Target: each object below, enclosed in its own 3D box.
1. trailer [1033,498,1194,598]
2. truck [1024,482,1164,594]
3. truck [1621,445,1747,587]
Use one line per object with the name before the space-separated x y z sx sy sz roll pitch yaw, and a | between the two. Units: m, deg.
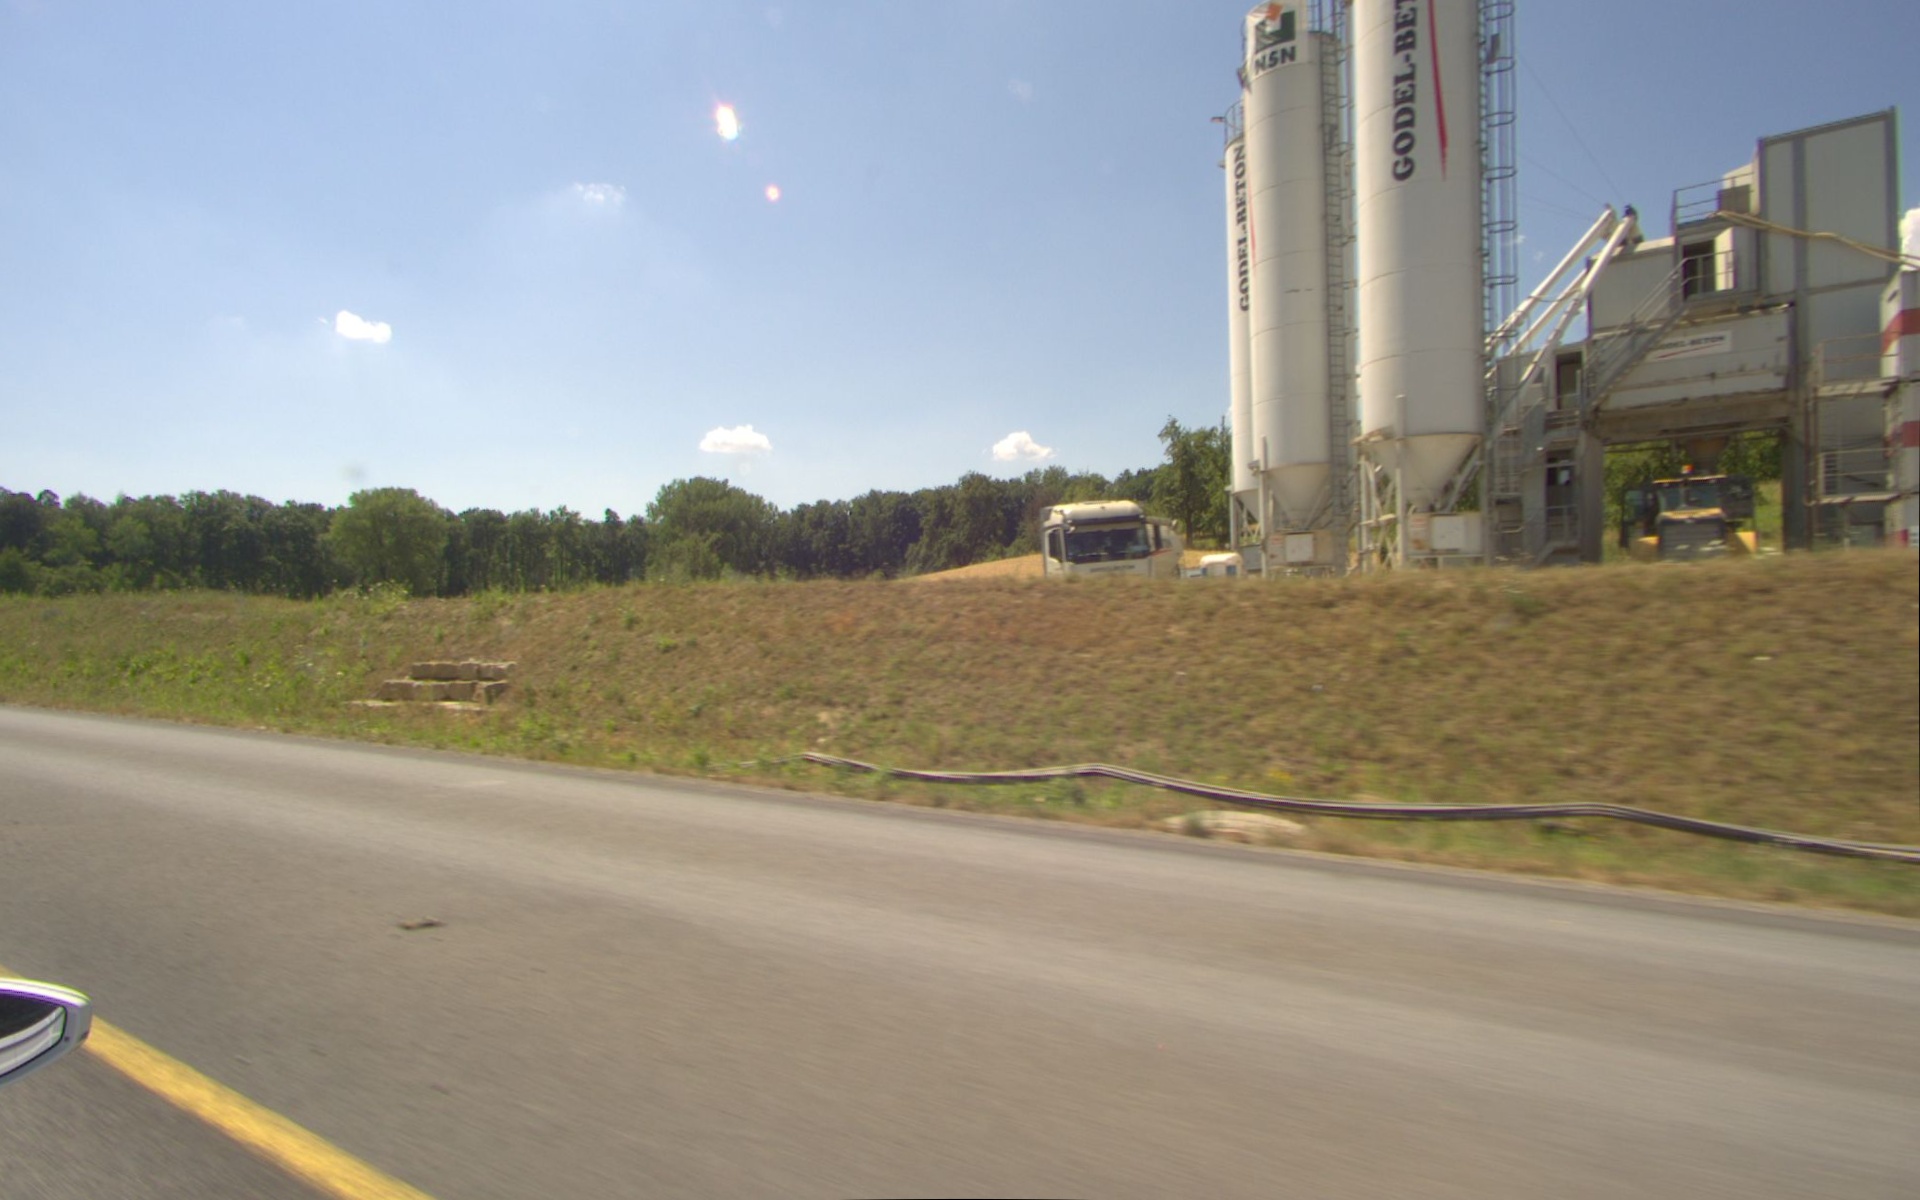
trailer | 5.378 -1.511 33.355 2.426 2.640 8.888 -1 -1 28
truck | 3.566 -1.581 28.062 2.849 2.576 5.310 0 -2 -4
truck | 20.230 -2.021 27.817 2.429 2.904 9.041 -1 -2 38
